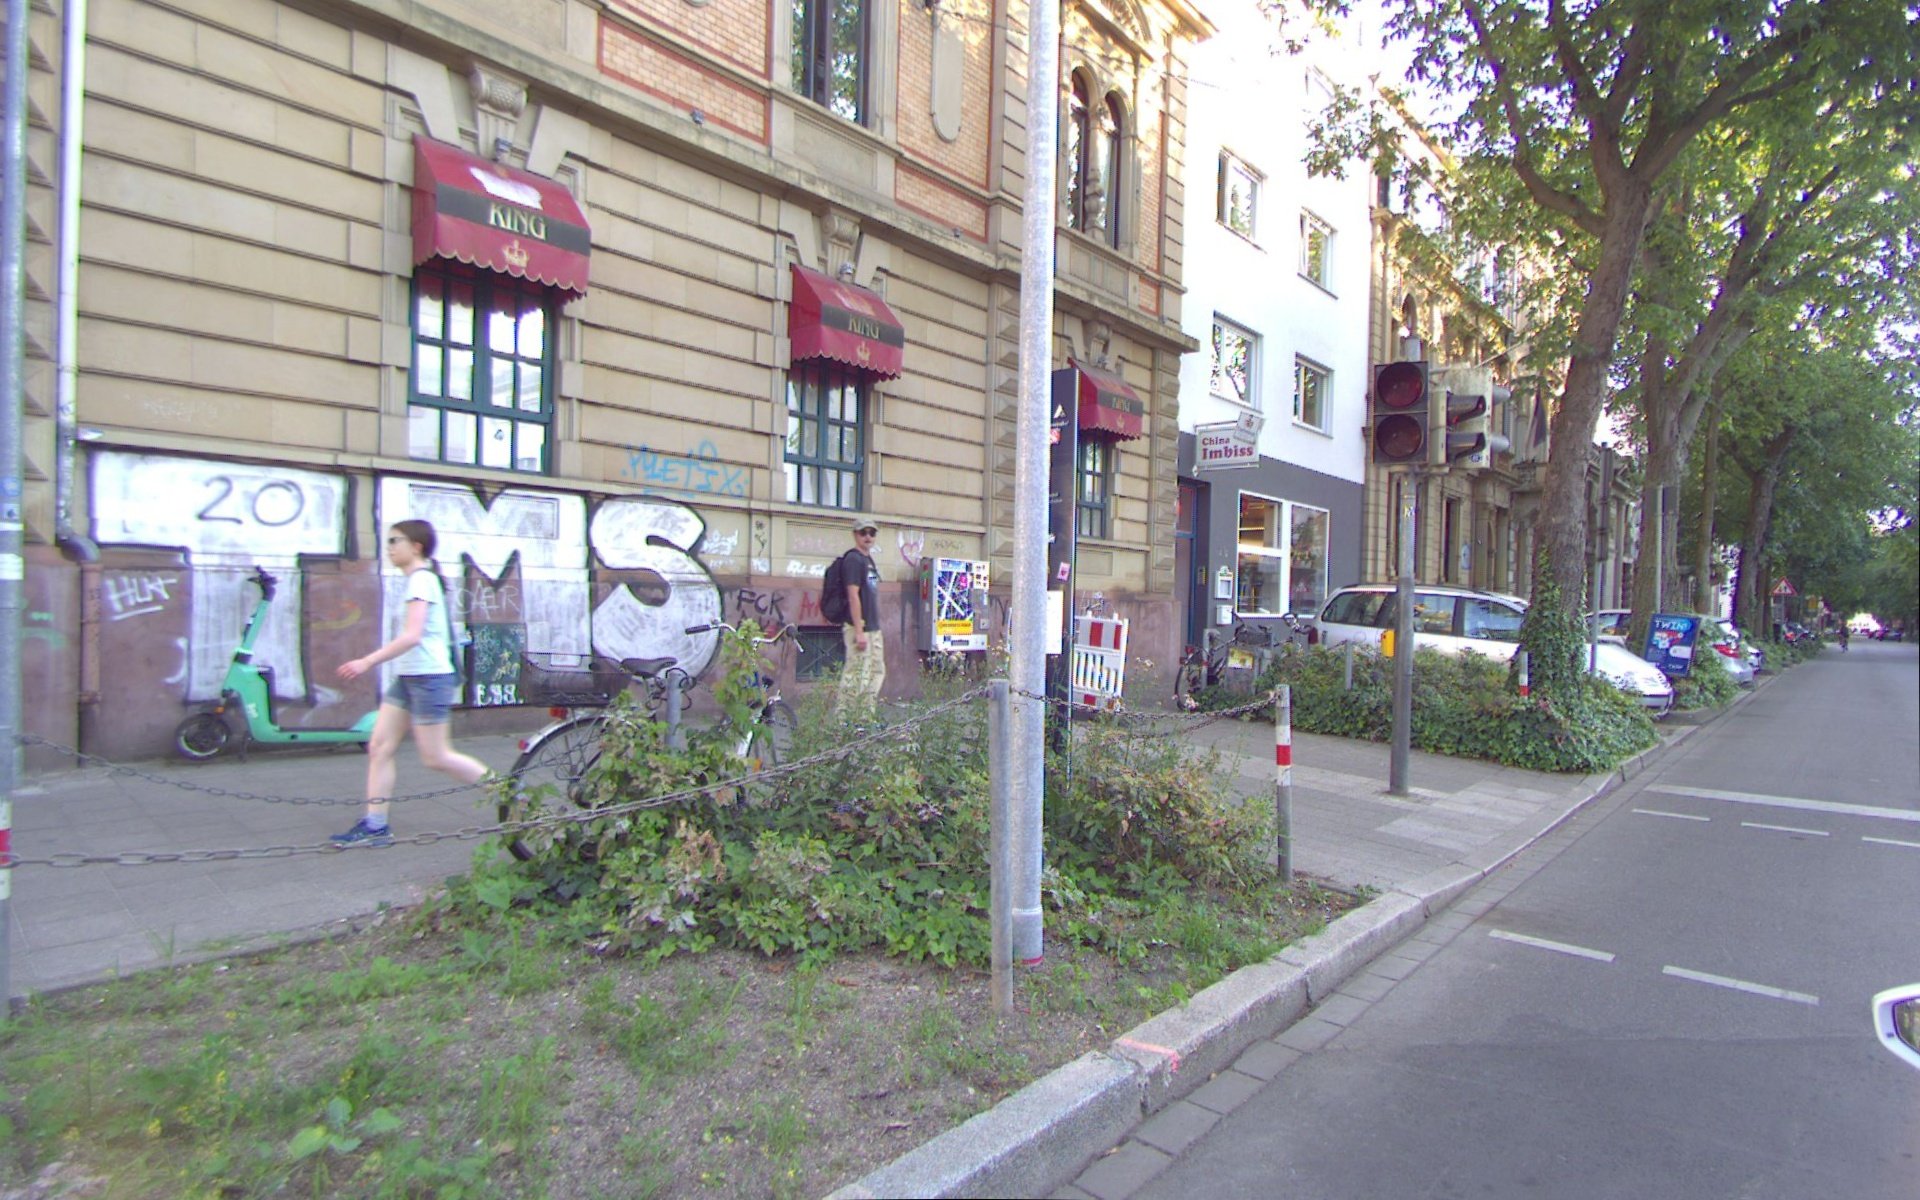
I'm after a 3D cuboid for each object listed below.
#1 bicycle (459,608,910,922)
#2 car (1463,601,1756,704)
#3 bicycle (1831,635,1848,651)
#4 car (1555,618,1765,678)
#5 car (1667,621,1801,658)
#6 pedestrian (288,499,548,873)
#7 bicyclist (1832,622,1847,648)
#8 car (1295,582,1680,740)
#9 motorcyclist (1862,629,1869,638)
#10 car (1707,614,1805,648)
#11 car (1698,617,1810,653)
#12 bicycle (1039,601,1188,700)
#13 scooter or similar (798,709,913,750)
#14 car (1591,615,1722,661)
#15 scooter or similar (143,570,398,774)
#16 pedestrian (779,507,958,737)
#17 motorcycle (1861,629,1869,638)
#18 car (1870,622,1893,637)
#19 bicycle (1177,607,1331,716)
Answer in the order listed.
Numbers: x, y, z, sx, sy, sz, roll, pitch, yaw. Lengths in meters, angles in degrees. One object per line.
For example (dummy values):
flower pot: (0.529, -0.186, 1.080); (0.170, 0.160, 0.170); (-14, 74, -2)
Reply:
bicycle: (-1.168, 0.642, 4.749); (0.505, 1.169, 2.090); (4, 2, 42)
car: (12.456, 0.922, 19.460); (4.499, 1.711, 1.822); (1, 0, 43)
bicycle: (52.275, 2.549, 59.721); (0.564, 0.961, 1.738); (2, 0, 36)
car: (18.980, 1.238, 27.366); (4.499, 1.390, 1.822); (1, 0, 43)
car: (33.895, 1.690, 44.065); (4.499, 1.428, 1.822); (1, 0, 43)
pedestrian: (-2.577, 0.366, 4.776); (0.970, 1.578, 0.694); (2, 2, -34)
bicyclist: (52.329, 2.081, 59.781); (0.564, 1.489, 0.641); (2, 0, 36)
car: (7.267, 0.717, 14.100); (4.494, 1.859, 1.824); (1, 0, 40)
motorcyclist: (139.574, 5.157, 154.858); (0.809, 1.253, 0.846); (3, 1, 42)
car: (47.996, 1.857, 60.602); (4.499, 1.826, 1.822); (2, 0, 43)
car: (42.115, 1.828, 53.321); (4.499, 1.714, 1.822); (2, 0, 43)
bicycle: (2.116, 0.649, 13.511); (0.630, 1.218, 2.548); (1, 0, 43)
scooter or similar: (-0.866, 1.077, 8.394); (0.864, 0.210, 0.418); (4, 2, 10)
car: (27.128, 1.431, 39.191); (3.995, 1.611, 1.822); (1, 0, 43)
scooter or similar: (-4.348, 0.434, 6.398); (1.275, 1.183, 0.435); (2, 2, -36)
pedestrian: (-0.734, 0.158, 8.312); (1.241, 1.762, 0.851); (2, 1, 10)
motorcycle: (139.648, 5.164, 154.945); (0.809, 1.253, 2.014); (3, 1, 42)
car: (104.142, 3.339, 113.540); (1.804, 1.582, 4.007); (3, 1, 41)
bicycle: (3.743, 0.727, 12.609); (0.726, 1.202, 2.619); (4, 1, 43)
